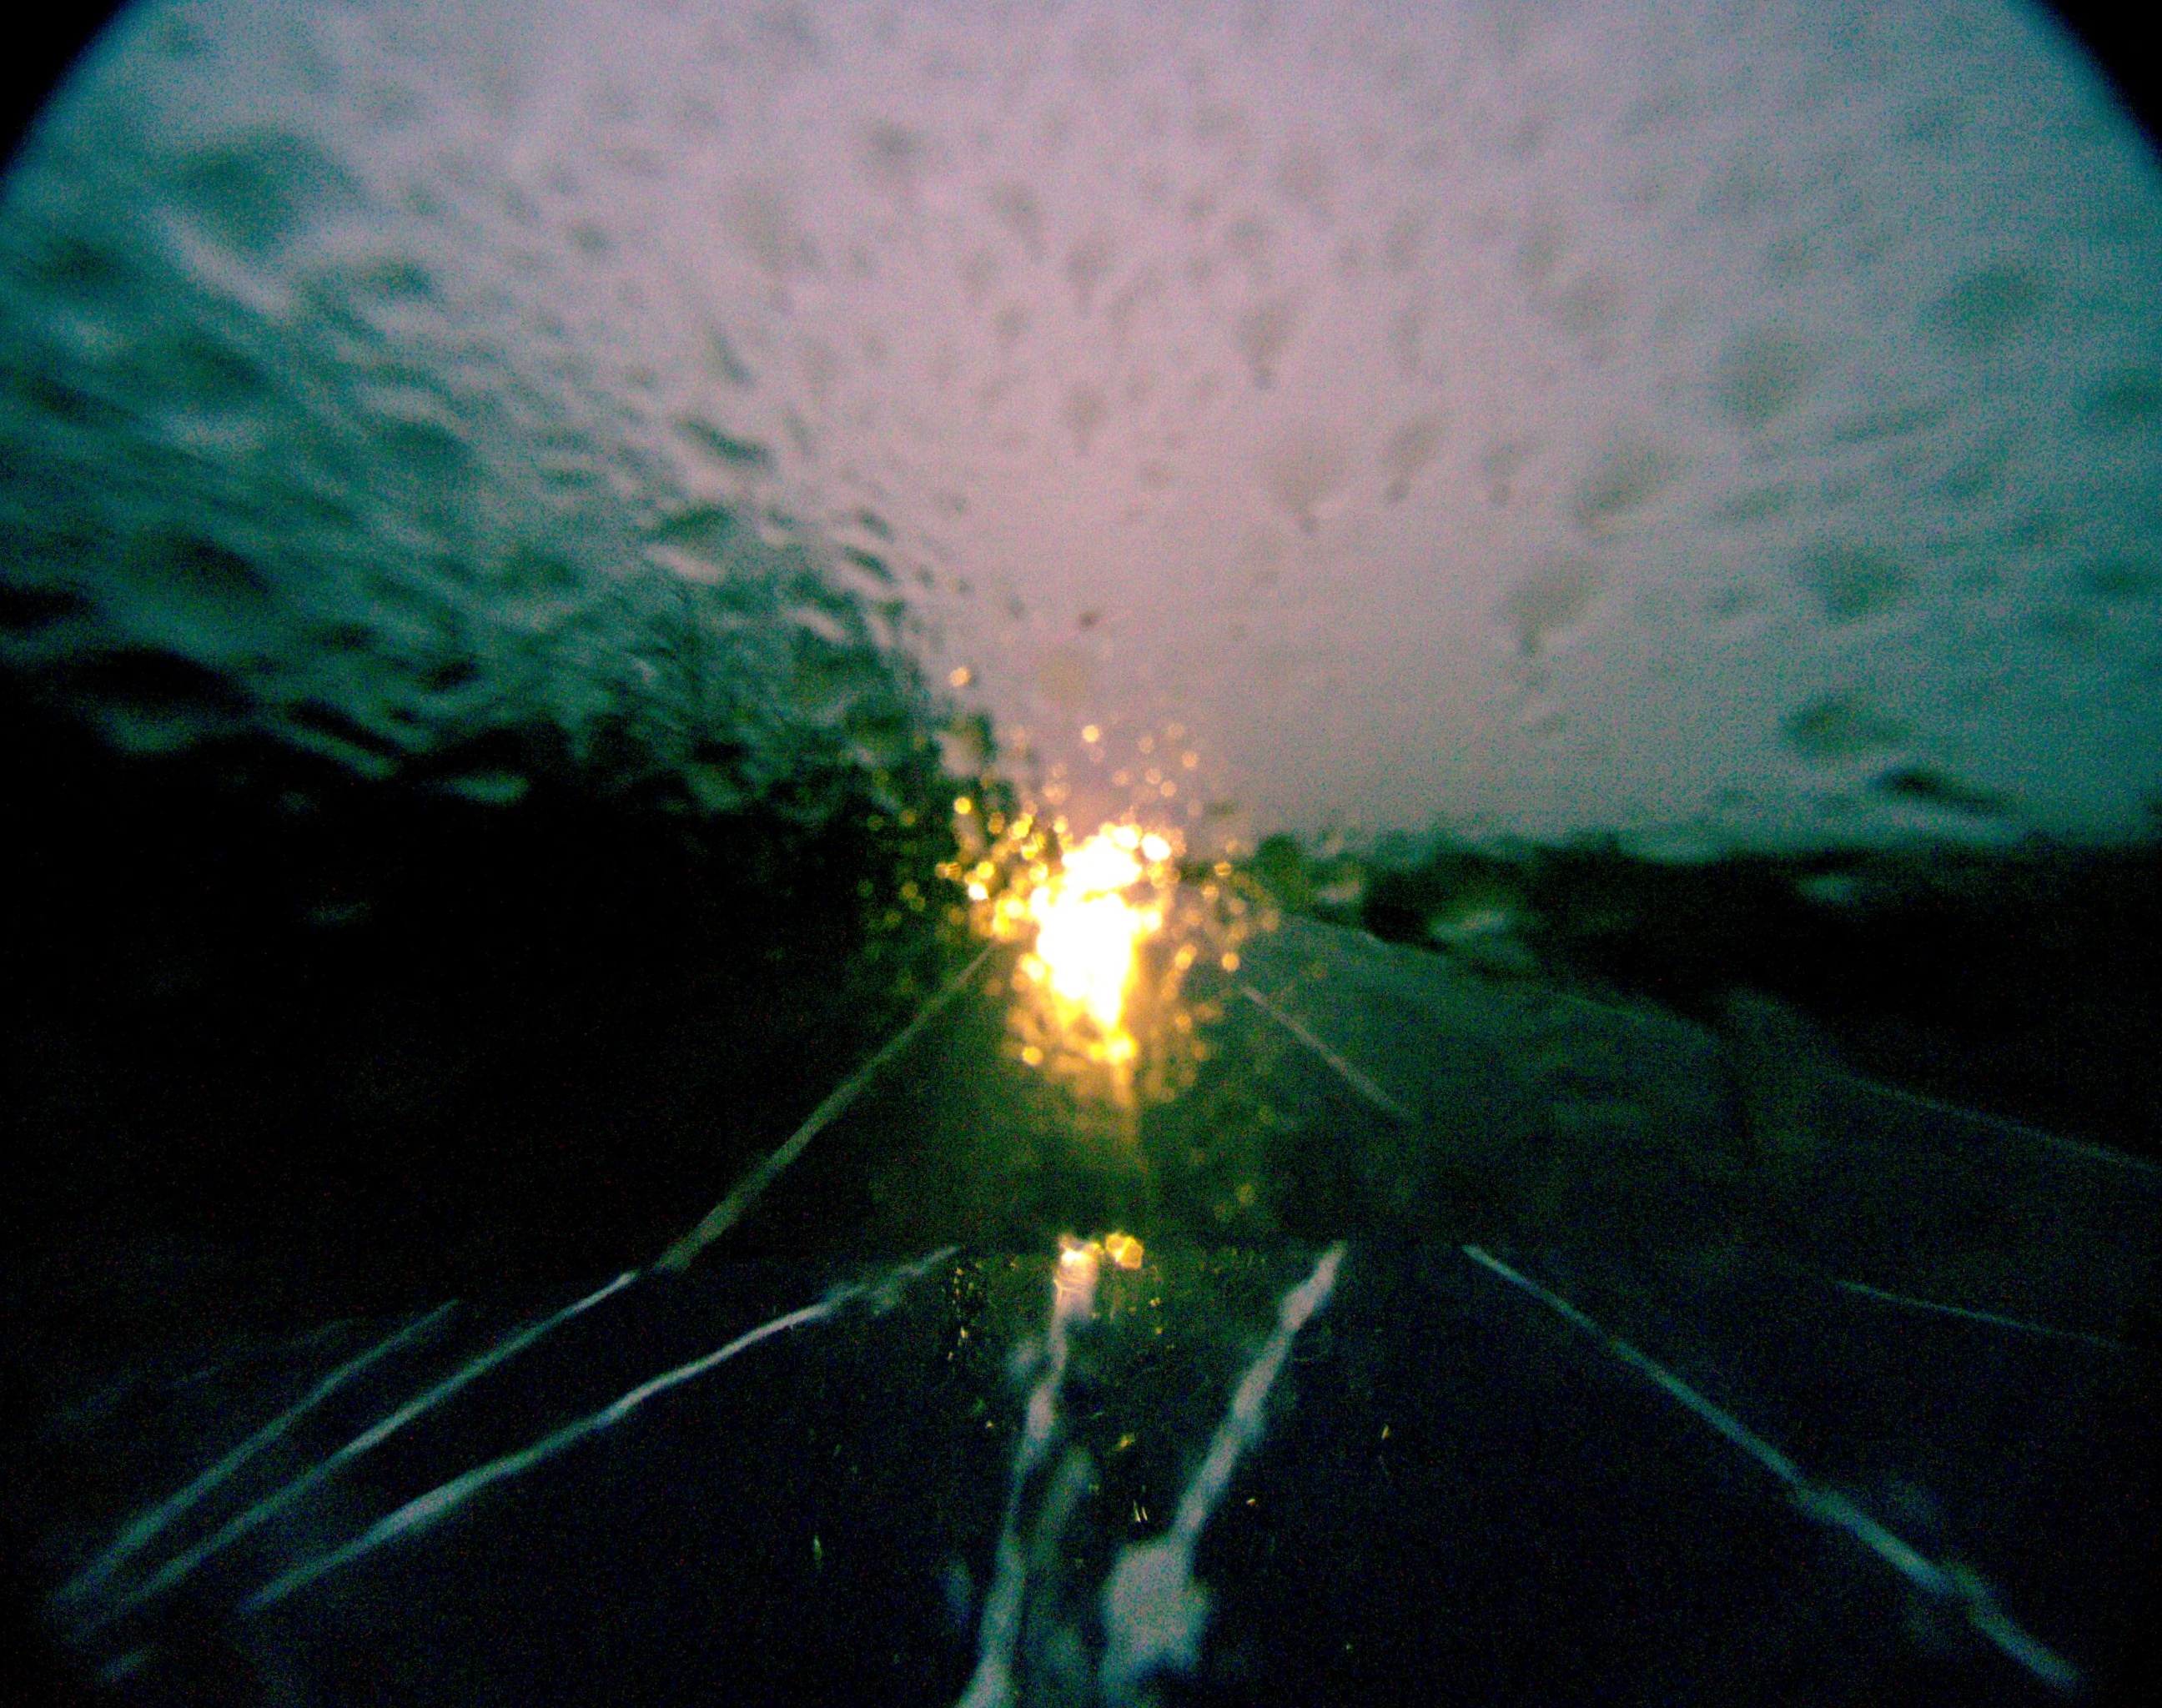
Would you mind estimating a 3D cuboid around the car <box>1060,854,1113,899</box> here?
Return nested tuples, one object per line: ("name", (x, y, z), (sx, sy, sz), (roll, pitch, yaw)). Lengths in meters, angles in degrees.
("car", (0.220, 0.804, 29.298), (1.844, 1.484, 3.956), (-3, 1, 0))

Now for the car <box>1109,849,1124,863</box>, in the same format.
("car", (4.640, 0.228, 99.846), (1.844, 1.711, 3.956), (-3, 1, 0))
